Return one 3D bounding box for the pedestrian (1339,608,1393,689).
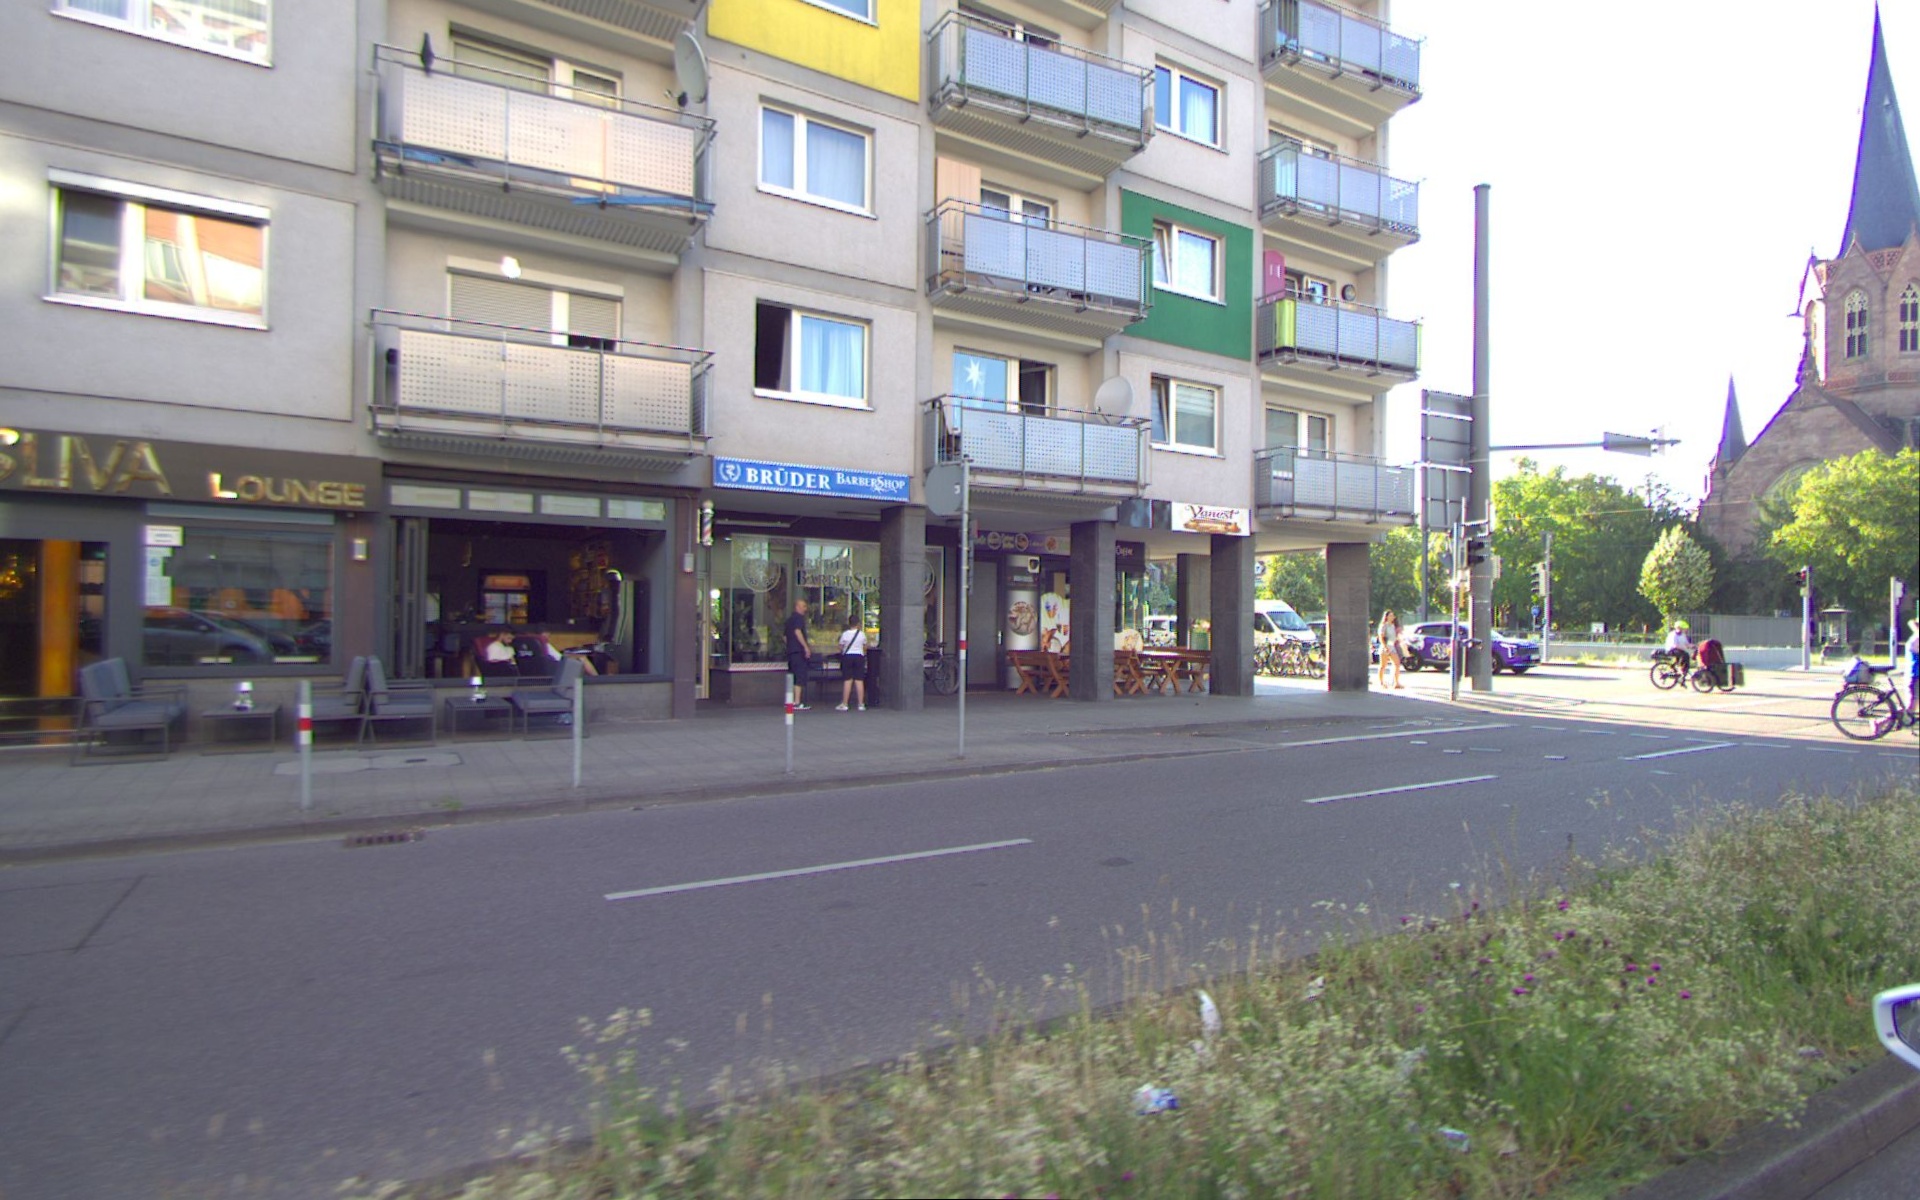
[{"bbox_3d":[9.120,1.079,22.582,0.664,1.781,0.921,1,-1,-22],"label":"pedestrian"}]

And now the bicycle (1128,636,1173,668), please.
[{"bbox_3d":[6.428,1.735,33.861,0.491,1.049,1.928,0,-1,45],"label":"bicycle"}]

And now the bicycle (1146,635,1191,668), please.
[{"bbox_3d":[6.902,1.699,33.265,0.491,1.049,1.928,0,-1,45],"label":"bicycle"}]

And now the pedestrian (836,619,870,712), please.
[{"bbox_3d":[-1.638,0.990,15.327,0.472,1.402,0.484,1,-1,-11],"label":"pedestrian"}]

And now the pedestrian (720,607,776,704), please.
[{"bbox_3d":[-3.575,0.918,16.925,0.778,1.599,0.558,1,-1,-31],"label":"pedestrian"}]

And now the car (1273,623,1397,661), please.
[{"bbox_3d":[15.054,1.650,40.550,1.938,1.428,4.461,1,-1,-31],"label":"car"}]

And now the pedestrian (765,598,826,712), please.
[{"bbox_3d":[-2.528,0.835,15.480,0.764,1.723,0.561,0,-1,13],"label":"pedestrian"}]

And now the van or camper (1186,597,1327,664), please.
[{"bbox_3d":[11.606,1.186,39.721,2.139,2.448,5.397,1,-1,-29],"label":"van or camper"}]

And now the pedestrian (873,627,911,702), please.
[{"bbox_3d":[-1.158,1.083,17.060,0.522,1.256,0.556,1,-1,-16],"label":"pedestrian"}]

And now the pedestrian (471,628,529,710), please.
[{"bbox_3d":[-6.360,0.943,13.896,0.544,1.094,0.521,0,-1,37],"label":"pedestrian"}]

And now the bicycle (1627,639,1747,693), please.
[{"bbox_3d":[17.088,1.521,23.645,1.149,1.183,2.031,1,-1,-32],"label":"bicycle"}]

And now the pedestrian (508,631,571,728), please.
[{"bbox_3d":[-5.469,1.014,13.080,0.513,1.219,0.552,0,-1,27],"label":"pedestrian"}]

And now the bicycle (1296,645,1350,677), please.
[{"bbox_3d":[10.081,1.686,27.853,1.684,0.851,0.493,1,-1,-32],"label":"bicycle"}]

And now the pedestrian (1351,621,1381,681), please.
[{"bbox_3d":[10.552,1.316,26.093,0.570,1.551,0.465,1,-1,-32],"label":"pedestrian"}]

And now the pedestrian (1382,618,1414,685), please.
[{"bbox_3d":[10.938,1.283,25.095,0.566,1.663,0.468,1,-1,-11],"label":"pedestrian"}]

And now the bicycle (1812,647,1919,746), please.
[{"bbox_3d":[12.204,1.231,12.894,0.726,1.204,1.818,1,-1,-31],"label":"bicycle"}]

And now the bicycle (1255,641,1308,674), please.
[{"bbox_3d":[9.285,1.661,29.008,1.684,0.919,0.493,1,-1,-32],"label":"bicycle"}]

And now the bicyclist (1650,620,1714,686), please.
[{"bbox_3d":[17.042,1.227,23.713,1.149,1.506,0.874,1,-1,-33],"label":"bicyclist"}]

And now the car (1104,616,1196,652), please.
[{"bbox_3d":[9.346,1.631,49.715,2.096,1.694,4.433,1,-1,-30],"label":"car"}]

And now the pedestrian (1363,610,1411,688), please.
[{"bbox_3d":[9.740,1.103,22.909,0.664,1.731,0.752,1,-1,-22],"label":"pedestrian"}]

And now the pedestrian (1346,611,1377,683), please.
[{"bbox_3d":[10.121,1.177,25.330,0.464,1.792,0.550,1,-1,-29],"label":"pedestrian"}]

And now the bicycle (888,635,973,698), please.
[{"bbox_3d":[-0.522,1.199,18.216,1.441,1.095,0.584,2,-2,-34],"label":"bicycle"}]

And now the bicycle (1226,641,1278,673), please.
[{"bbox_3d":[8.712,1.700,29.926,1.684,0.919,0.493,1,-1,-32],"label":"bicycle"}]

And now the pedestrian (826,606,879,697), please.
[{"bbox_3d":[-1.935,0.911,18.088,0.780,1.599,0.557,1,-1,-37],"label":"pedestrian"}]

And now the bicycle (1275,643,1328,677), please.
[{"bbox_3d":[9.711,1.694,28.541,1.684,0.919,0.493,1,-1,-32],"label":"bicycle"}]

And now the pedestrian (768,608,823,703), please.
[{"bbox_3d":[-2.855,0.941,17.408,0.778,1.599,0.558,1,-1,-31],"label":"pedestrian"}]

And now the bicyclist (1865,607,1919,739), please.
[{"bbox_3d":[12.577,0.941,13.223,0.891,1.682,0.778,1,-1,-33],"label":"bicyclist"}]

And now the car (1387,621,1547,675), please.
[{"bbox_3d":[16.287,1.504,32.485,1.814,1.594,4.383,1,-1,-29],"label":"car"}]
